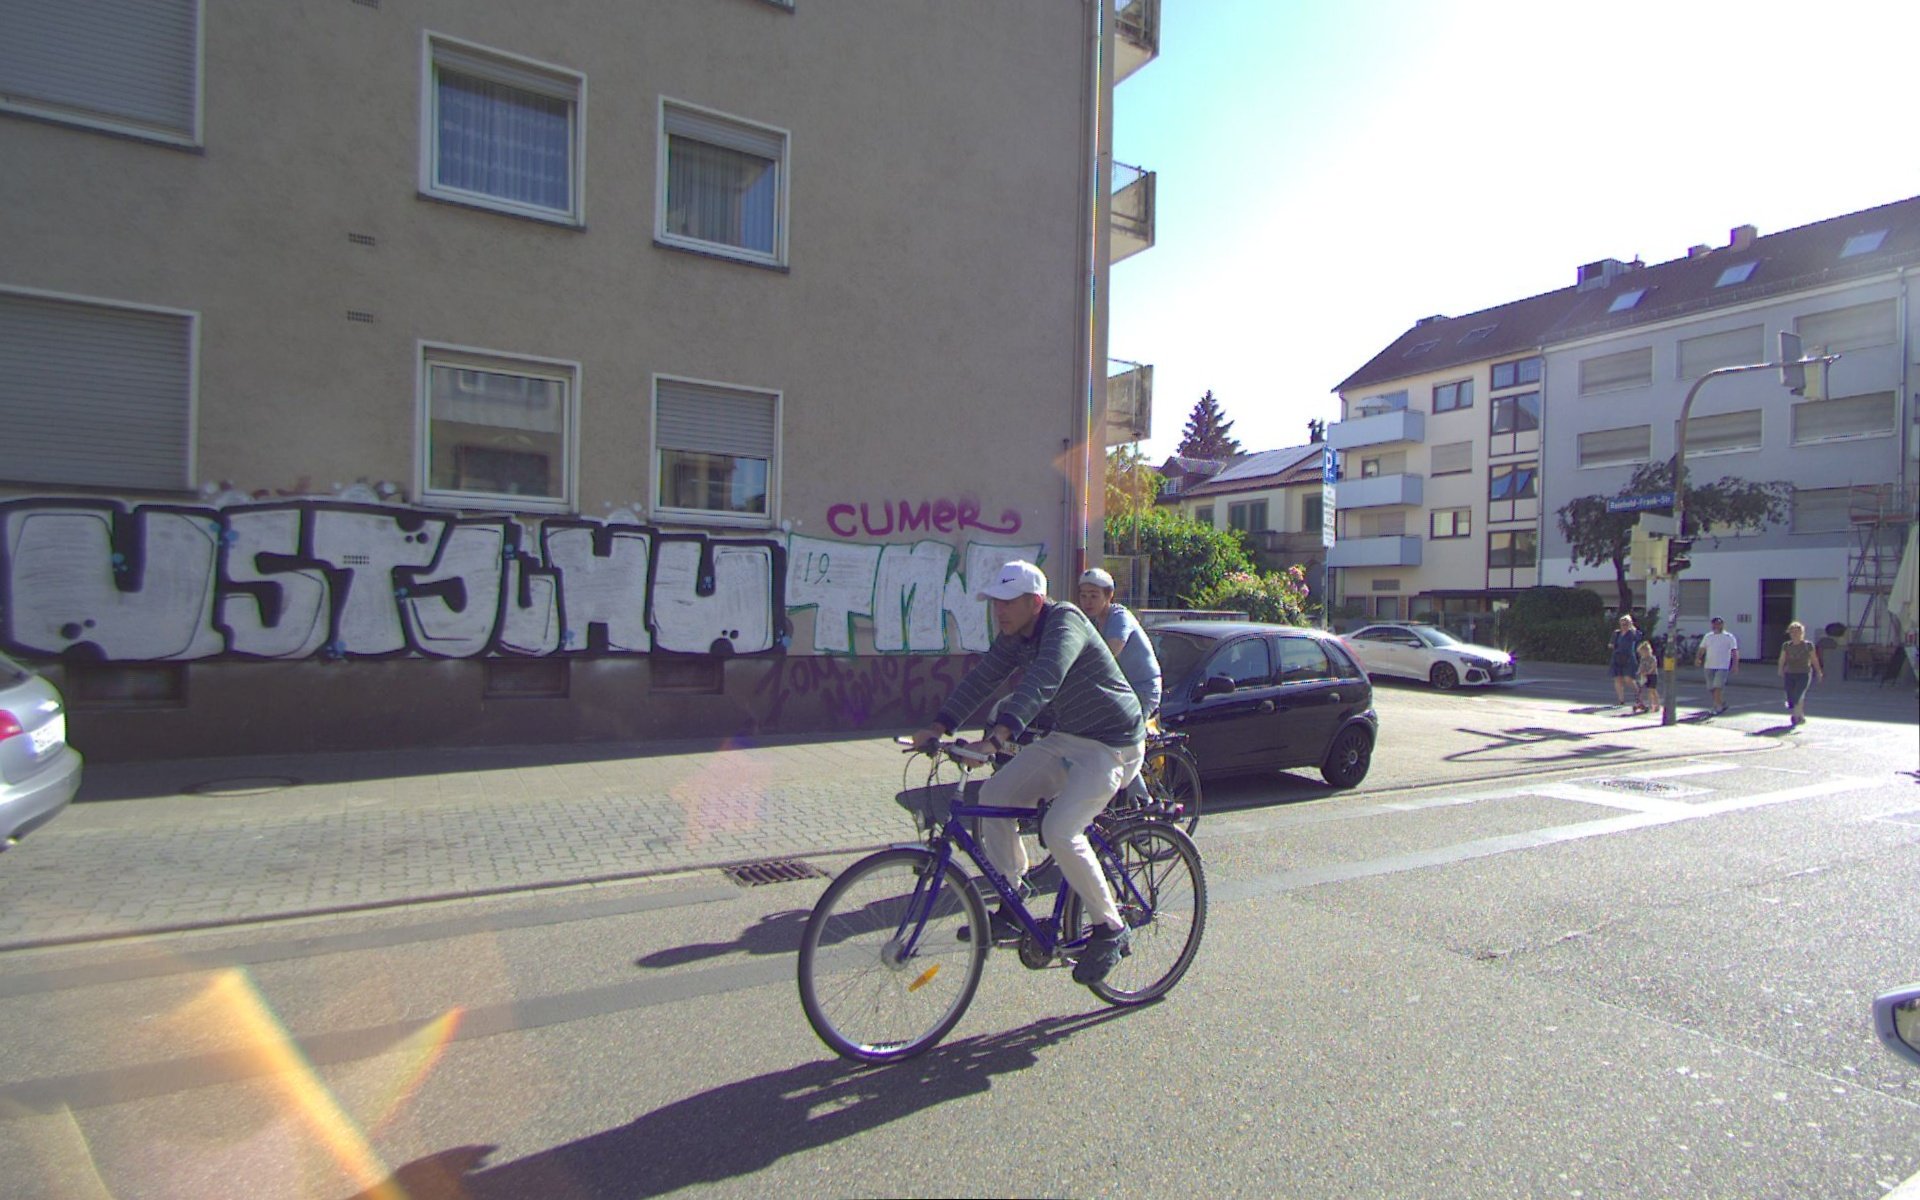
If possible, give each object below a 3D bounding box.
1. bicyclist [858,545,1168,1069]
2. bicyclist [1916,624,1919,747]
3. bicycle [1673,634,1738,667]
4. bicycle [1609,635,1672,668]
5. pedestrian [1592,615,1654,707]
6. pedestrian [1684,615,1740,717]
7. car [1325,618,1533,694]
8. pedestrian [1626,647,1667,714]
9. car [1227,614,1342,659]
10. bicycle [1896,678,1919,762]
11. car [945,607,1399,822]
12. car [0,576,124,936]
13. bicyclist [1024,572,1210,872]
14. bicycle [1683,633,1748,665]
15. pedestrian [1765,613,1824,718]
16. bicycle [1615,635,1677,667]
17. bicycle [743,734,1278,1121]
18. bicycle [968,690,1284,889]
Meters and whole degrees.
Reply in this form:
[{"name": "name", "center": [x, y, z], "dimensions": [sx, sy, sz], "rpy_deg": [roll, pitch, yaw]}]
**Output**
[{"name": "bicyclist", "center": [0.180, 0.647, 3.593], "dimensions": [0.888, 1.597, 0.676], "rpy_deg": [1, -2, -30]}, {"name": "bicyclist", "center": [11.500, 0.992, 11.480], "dimensions": [0.777, 1.409, 0.542], "rpy_deg": [1, 0, -21]}, {"name": "bicycle", "center": [23.370, 1.573, 31.497], "dimensions": [0.506, 0.952, 1.583], "rpy_deg": [1, -1, -27]}, {"name": "bicycle", "center": [21.245, 1.601, 31.397], "dimensions": [0.506, 0.952, 1.583], "rpy_deg": [1, -1, -27]}, {"name": "pedestrian", "center": [12.662, 1.148, 19.178], "dimensions": [0.956, 1.705, 0.571], "rpy_deg": [1, 0, -27]}, {"name": "pedestrian", "center": [13.052, 1.126, 17.432], "dimensions": [0.662, 1.711, 0.569], "rpy_deg": [1, 0, -34]}, {"name": "car", "center": [11.078, 1.247, 24.052], "dimensions": [1.910, 1.455, 4.237], "rpy_deg": [-3, 2, -28]}, {"name": "pedestrian", "center": [12.368, 1.442, 18.093], "dimensions": [0.524, 1.161, 0.384], "rpy_deg": [1, 0, -25]}, {"name": "car", "center": [12.299, 1.343, 38.294], "dimensions": [1.893, 1.539, 3.968], "rpy_deg": [0, 0, -30]}, {"name": "bicycle", "center": [11.575, 1.369, 11.508], "dimensions": [1.800, 0.914, 0.541], "rpy_deg": [1, 0, -23]}, {"name": "car", "center": [1.946, 0.868, 8.930], "dimensions": [3.813, 1.468, 1.682], "rpy_deg": [1, 2, -32]}, {"name": "car", "center": [-6.545, 0.624, 3.953], "dimensions": [4.747, 1.523, 1.813], "rpy_deg": [1, 2, -32]}, {"name": "bicyclist", "center": [0.941, 0.687, 6.049], "dimensions": [0.888, 1.652, 0.676], "rpy_deg": [1, -2, -30]}, {"name": "bicycle", "center": [23.915, 1.552, 31.809], "dimensions": [0.506, 0.952, 1.583], "rpy_deg": [1, -1, -27]}, {"name": "pedestrian", "center": [13.188, 1.020, 15.878], "dimensions": [0.556, 1.602, 0.529], "rpy_deg": [1, 0, -28]}, {"name": "bicycle", "center": [21.689, 1.606, 31.781], "dimensions": [0.506, 0.952, 1.583], "rpy_deg": [1, -1, -27]}, {"name": "bicycle", "center": [0.237, 1.051, 3.691], "dimensions": [1.911, 0.964, 0.676], "rpy_deg": [1, -2, -30]}, {"name": "bicycle", "center": [1.038, 1.074, 6.104], "dimensions": [1.911, 0.964, 0.676], "rpy_deg": [1, -2, -30]}]
